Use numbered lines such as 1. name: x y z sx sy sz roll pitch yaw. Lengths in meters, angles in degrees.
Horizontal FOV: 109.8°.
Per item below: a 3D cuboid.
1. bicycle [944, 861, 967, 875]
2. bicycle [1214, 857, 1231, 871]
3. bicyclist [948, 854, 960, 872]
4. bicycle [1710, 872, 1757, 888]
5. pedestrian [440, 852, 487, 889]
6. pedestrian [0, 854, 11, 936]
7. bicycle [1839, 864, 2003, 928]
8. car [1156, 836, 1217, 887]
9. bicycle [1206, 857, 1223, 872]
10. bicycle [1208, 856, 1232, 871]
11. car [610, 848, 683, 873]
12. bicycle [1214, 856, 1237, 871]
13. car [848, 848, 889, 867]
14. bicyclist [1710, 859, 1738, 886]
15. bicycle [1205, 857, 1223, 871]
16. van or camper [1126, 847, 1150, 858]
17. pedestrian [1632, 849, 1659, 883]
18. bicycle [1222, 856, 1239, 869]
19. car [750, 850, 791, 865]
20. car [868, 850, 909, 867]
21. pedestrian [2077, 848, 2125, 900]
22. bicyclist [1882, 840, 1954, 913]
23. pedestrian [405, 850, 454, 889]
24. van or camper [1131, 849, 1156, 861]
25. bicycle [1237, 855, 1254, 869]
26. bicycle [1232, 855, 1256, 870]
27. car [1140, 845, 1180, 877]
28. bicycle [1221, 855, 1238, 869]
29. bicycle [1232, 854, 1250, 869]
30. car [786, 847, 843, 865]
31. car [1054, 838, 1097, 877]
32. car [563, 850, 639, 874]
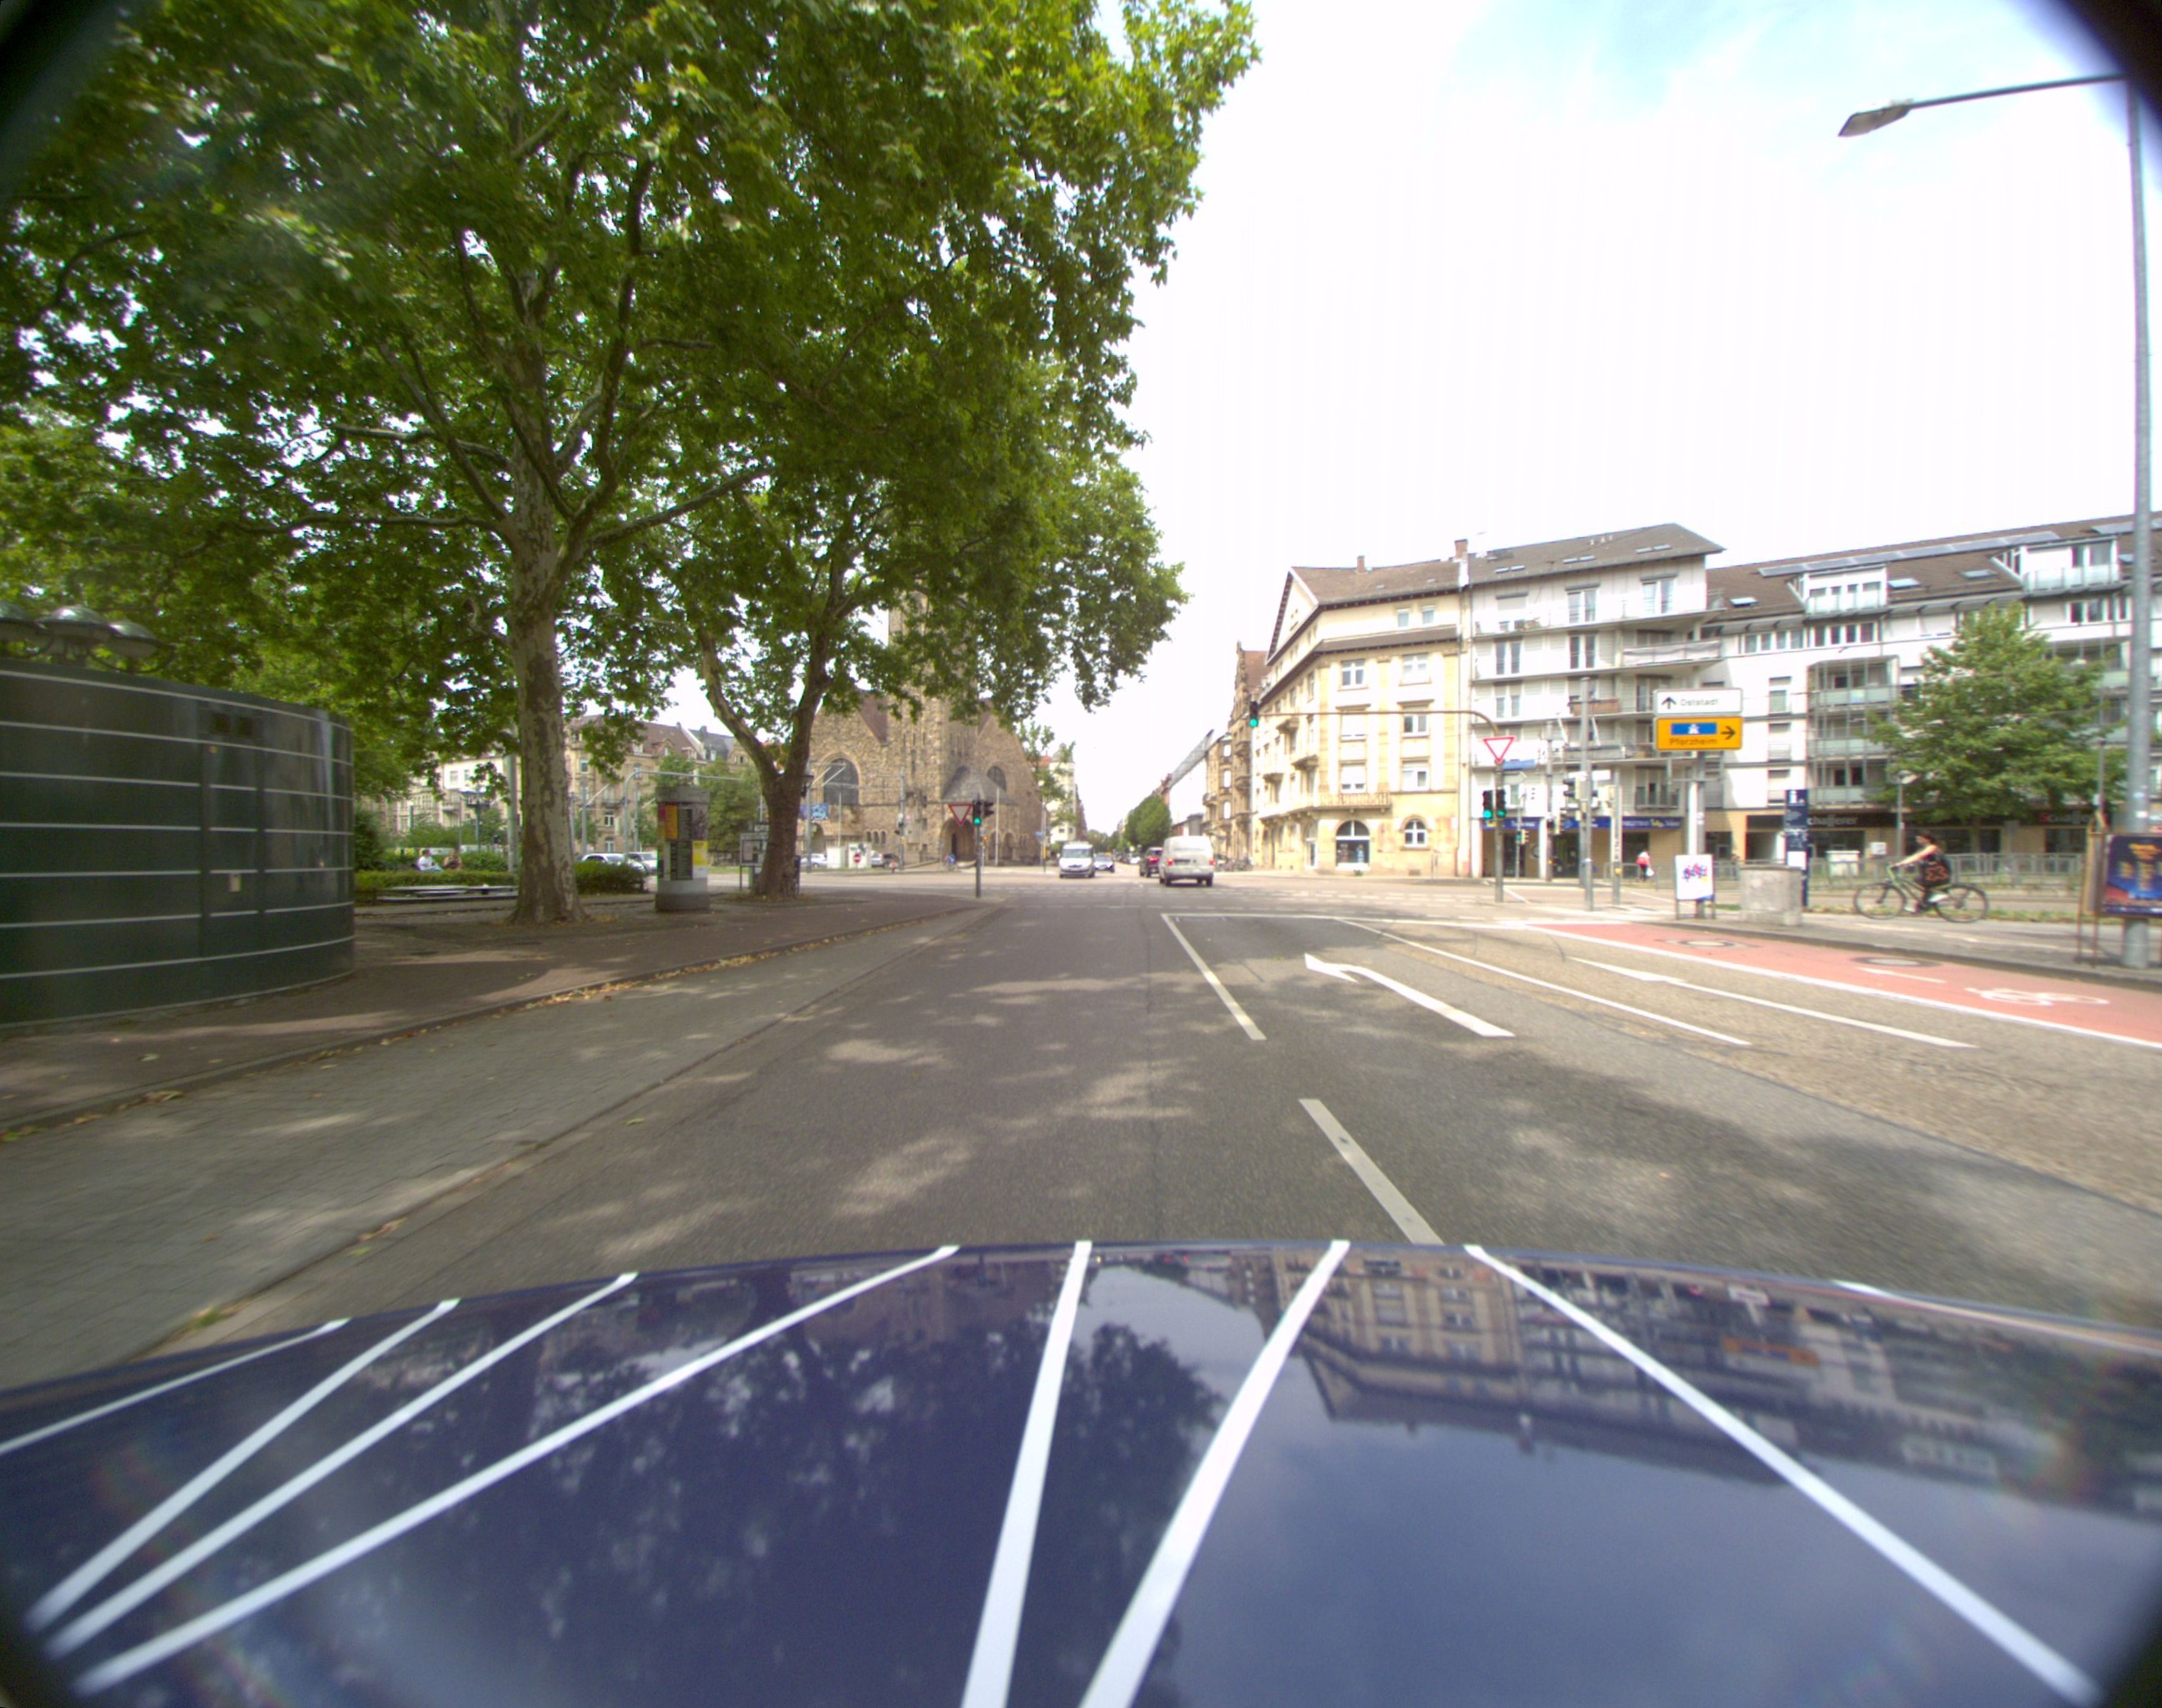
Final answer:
1. bicycle: -10.635 1.188 64.563 1.808 1.079 0.599 -2 0 18
2. bicycle: 11.987 0.848 64.424 1.345 1.185 0.397 -2 0 -2
3. bicyclist: -10.800 0.783 64.607 0.838 1.488 0.590 -2 0 18
4. bicycle: 34.646 1.385 40.375 1.786 0.811 0.653 0 0 26
5. pedestrian: -22.114 0.580 27.201 1.176 1.310 0.869 0 0 24
6. pedestrian: -16.782 0.613 11.109 1.096 1.206 1.143 1 1 26
7. bicycle: 15.858 0.771 14.411 1.966 1.088 0.628 2 1 23
8. car: 4.281 0.304 31.540 1.928 1.925 4.947 -1 0 1
9. bicycle: 11.563 0.906 65.987 1.345 1.185 0.397 -3 0 0
10. bicycle: 11.533 0.799 62.983 1.872 1.185 0.456 0 0 21
11. car: -27.507 0.408 48.105 4.277 1.502 1.843 0 0 25
12. bicycle: 12.163 0.800 63.947 1.821 1.185 0.397 -2 0 -2
13. car: -21.983 0.345 78.748 1.995 1.871 3.961 0 0 26
14. bicyclist: 34.297 0.991 40.534 0.998 1.435 0.642 0 0 26
15. bicycle: 11.426 0.840 65.256 1.345 1.185 0.397 -3 0 -5
16. van or camper: 10.320 -0.216 138.120 3.999 2.002 1.999 0 0 -7
17. pedestrian: 26.104 0.548 35.139 0.837 1.543 0.869 1 1 25
18. bicycle: 12.908 0.727 65.629 1.345 1.185 0.397 0 0 0
19. car: -34.831 0.390 85.336 1.995 1.631 3.961 0 0 26
20. car: -19.549 0.421 77.376 1.995 1.641 4.007 0 0 26
21. pedestrian: 30.822 0.602 22.970 0.597 1.543 0.671 1 1 23
22. bicyclist: 15.835 0.411 14.394 0.751 1.334 0.493 1 1 23
23. pedestrian: -22.612 0.537 26.375 1.176 1.310 0.869 0 0 24
24. van or camper: 10.671 0.143 129.461 3.997 2.002 1.999 0 1 -1
25. bicycle: 13.865 0.676 64.030 1.345 1.185 0.397 -3 0 -5
26. bicycle: 13.628 0.750 63.496 1.830 1.185 0.397 -2 -1 1
27. car: 4.295 0.353 41.973 1.826 1.637 4.428 -1 0 1
28. bicycle: 12.938 0.729 66.133 1.345 1.185 0.397 -2 0 -4
29. bicycle: 13.598 0.666 64.649 1.345 1.185 0.397 -3 0 -5
30. car: -23.063 0.194 65.689 4.835 1.515 1.772 0 0 26
31. car: -0.234 0.193 41.607 2.081 2.039 4.681 0 0 2
32. car: -28.557 0.457 45.214 4.277 1.375 1.843 0 0 26
